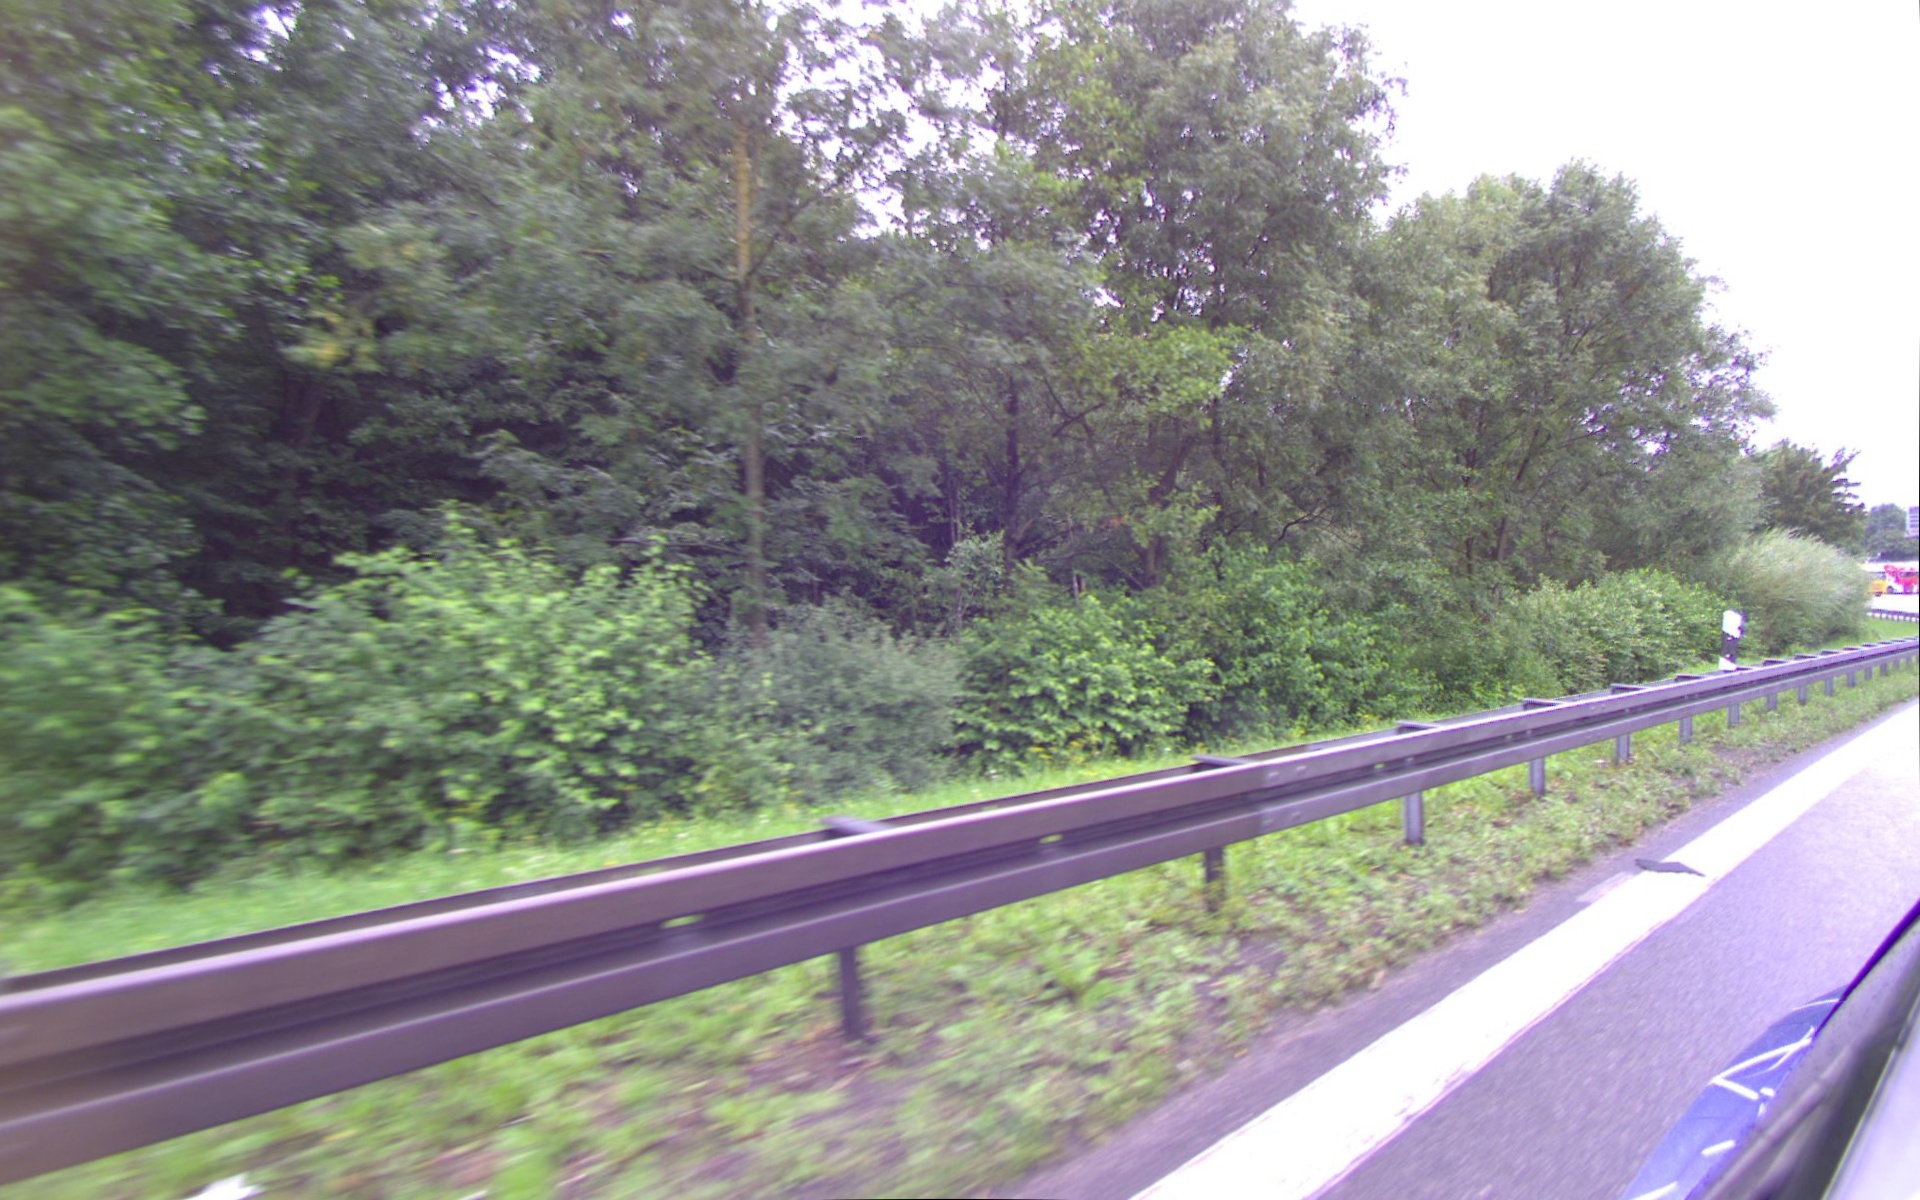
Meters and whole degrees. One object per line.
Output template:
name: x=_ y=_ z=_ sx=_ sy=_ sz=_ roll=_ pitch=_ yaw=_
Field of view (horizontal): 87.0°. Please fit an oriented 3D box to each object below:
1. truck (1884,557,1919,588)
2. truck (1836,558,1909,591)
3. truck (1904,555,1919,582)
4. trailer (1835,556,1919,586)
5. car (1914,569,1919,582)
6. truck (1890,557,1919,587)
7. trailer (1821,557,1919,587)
truck: x=126.237 y=-3.651 z=134.034 sx=3.190 sy=3.967 sz=5.015 roll=0 pitch=2 yaw=6
truck: x=114.541 y=-3.245 z=127.214 sx=2.795 sy=3.967 sz=8.110 roll=0 pitch=2 yaw=10
truck: x=147.763 y=-4.830 z=153.053 sx=3.190 sy=4.141 sz=7.928 roll=0 pitch=2 yaw=6
trailer: x=130.838 y=-4.140 z=143.451 sx=2.826 sy=3.967 sz=13.918 roll=0 pitch=2 yaw=6
car: x=142.778 y=-3.561 z=148.685 sx=1.818 sy=1.881 sz=3.991 roll=-1 pitch=1 yaw=9
truck: x=130.174 y=-3.854 z=137.065 sx=2.849 sy=3.967 sz=6.547 roll=0 pitch=2 yaw=6
trailer: x=126.980 y=-3.929 z=140.731 sx=3.190 sy=3.967 sz=14.812 roll=0 pitch=2 yaw=6
